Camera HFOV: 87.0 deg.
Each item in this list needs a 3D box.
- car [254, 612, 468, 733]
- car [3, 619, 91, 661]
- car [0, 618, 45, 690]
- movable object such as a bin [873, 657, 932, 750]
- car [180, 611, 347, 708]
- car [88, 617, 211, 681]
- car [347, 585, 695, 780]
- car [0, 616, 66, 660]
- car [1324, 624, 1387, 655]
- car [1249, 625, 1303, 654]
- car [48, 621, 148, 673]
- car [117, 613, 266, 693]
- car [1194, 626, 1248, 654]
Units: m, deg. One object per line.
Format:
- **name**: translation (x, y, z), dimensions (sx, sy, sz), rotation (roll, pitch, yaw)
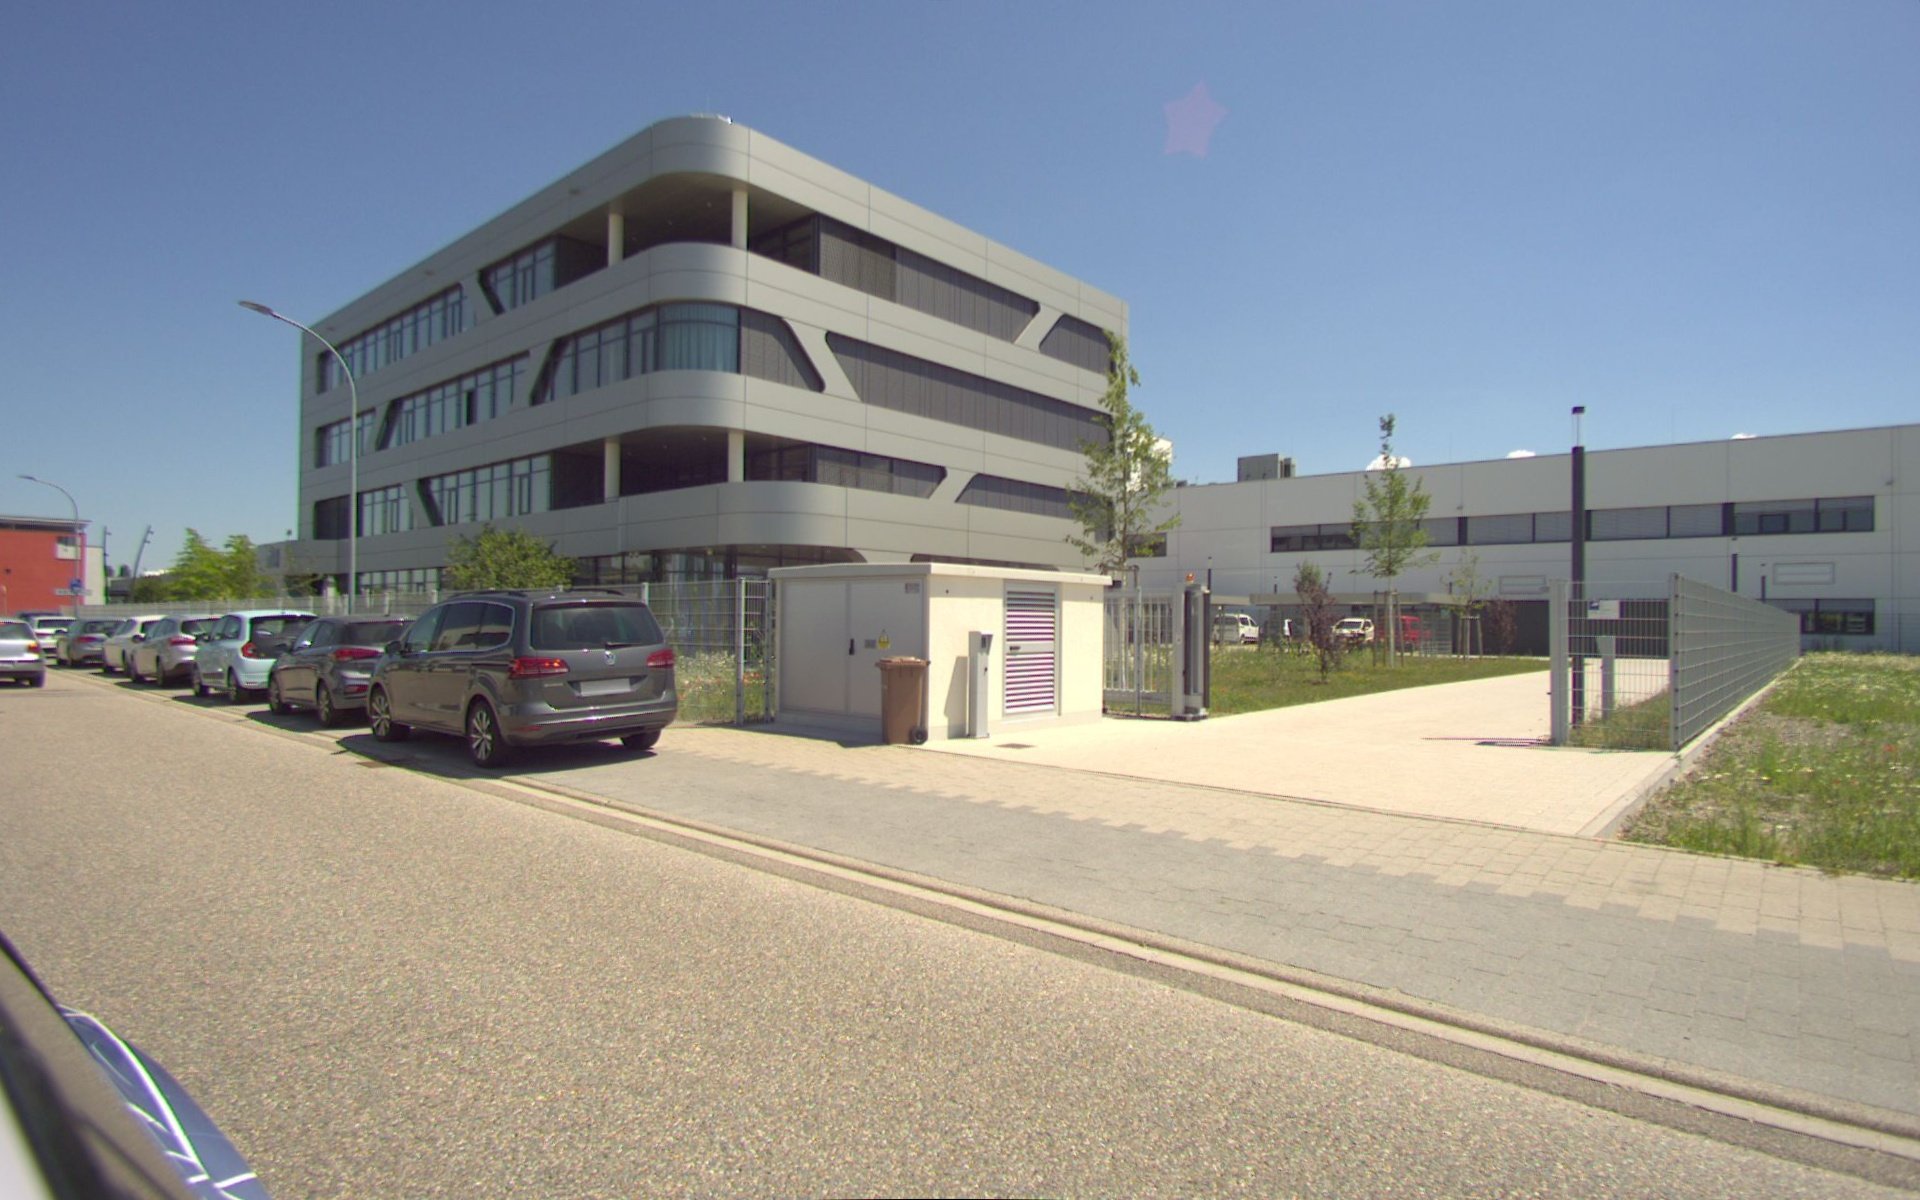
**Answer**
- **car**: translation (-8.764, 0.943, 14.678), dimensions (3.971, 1.512, 1.617), rotation (-1, -1, 43)
- **car**: translation (-31.754, 1.366, 35.171), dimensions (3.933, 1.396, 1.682), rotation (-2, -2, 39)
- **car**: translation (-21.016, 1.092, 21.554), dimensions (4.782, 1.422, 1.686), rotation (-1, -4, 42)
- **movable object such as a bin**: translation (-0.629, 1.102, 10.936), dimensions (0.594, 0.952, 0.517), rotation (0, -1, -8)
- **car**: translation (-12.518, 0.986, 18.116), dimensions (3.656, 1.548, 1.618), rotation (-1, -1, 41)
- **car**: translation (-20.629, 1.183, 25.707), dimensions (4.437, 1.454, 1.685), rotation (-1, -1, 41)
- **car**: translation (-5.014, 0.759, 11.198), dimensions (4.621, 1.732, 1.783), rotation (-1, -1, 42)
- **car**: translation (-36.850, 1.480, 40.088), dimensions (4.851, 1.664, 1.750), rotation (-2, -2, 43)
- **car**: translation (21.359, 2.120, 54.563), dimensions (1.922, 1.597, 3.944), rotation (-1, -2, 42)
- **car**: translation (18.177, 2.263, 58.093), dimensions (1.918, 1.597, 3.953), rotation (-1, -2, 35)
- **car**: translation (-25.167, 1.324, 29.496), dimensions (4.638, 1.396, 1.666), rotation (-2, -2, 42)
- **car**: translation (-16.687, 1.075, 21.890), dimensions (4.569, 1.548, 1.685), rotation (-1, -1, 41)
- **car**: translation (15.533, 2.353, 60.140), dimensions (1.918, 1.597, 3.953), rotation (-1, -2, 35)
